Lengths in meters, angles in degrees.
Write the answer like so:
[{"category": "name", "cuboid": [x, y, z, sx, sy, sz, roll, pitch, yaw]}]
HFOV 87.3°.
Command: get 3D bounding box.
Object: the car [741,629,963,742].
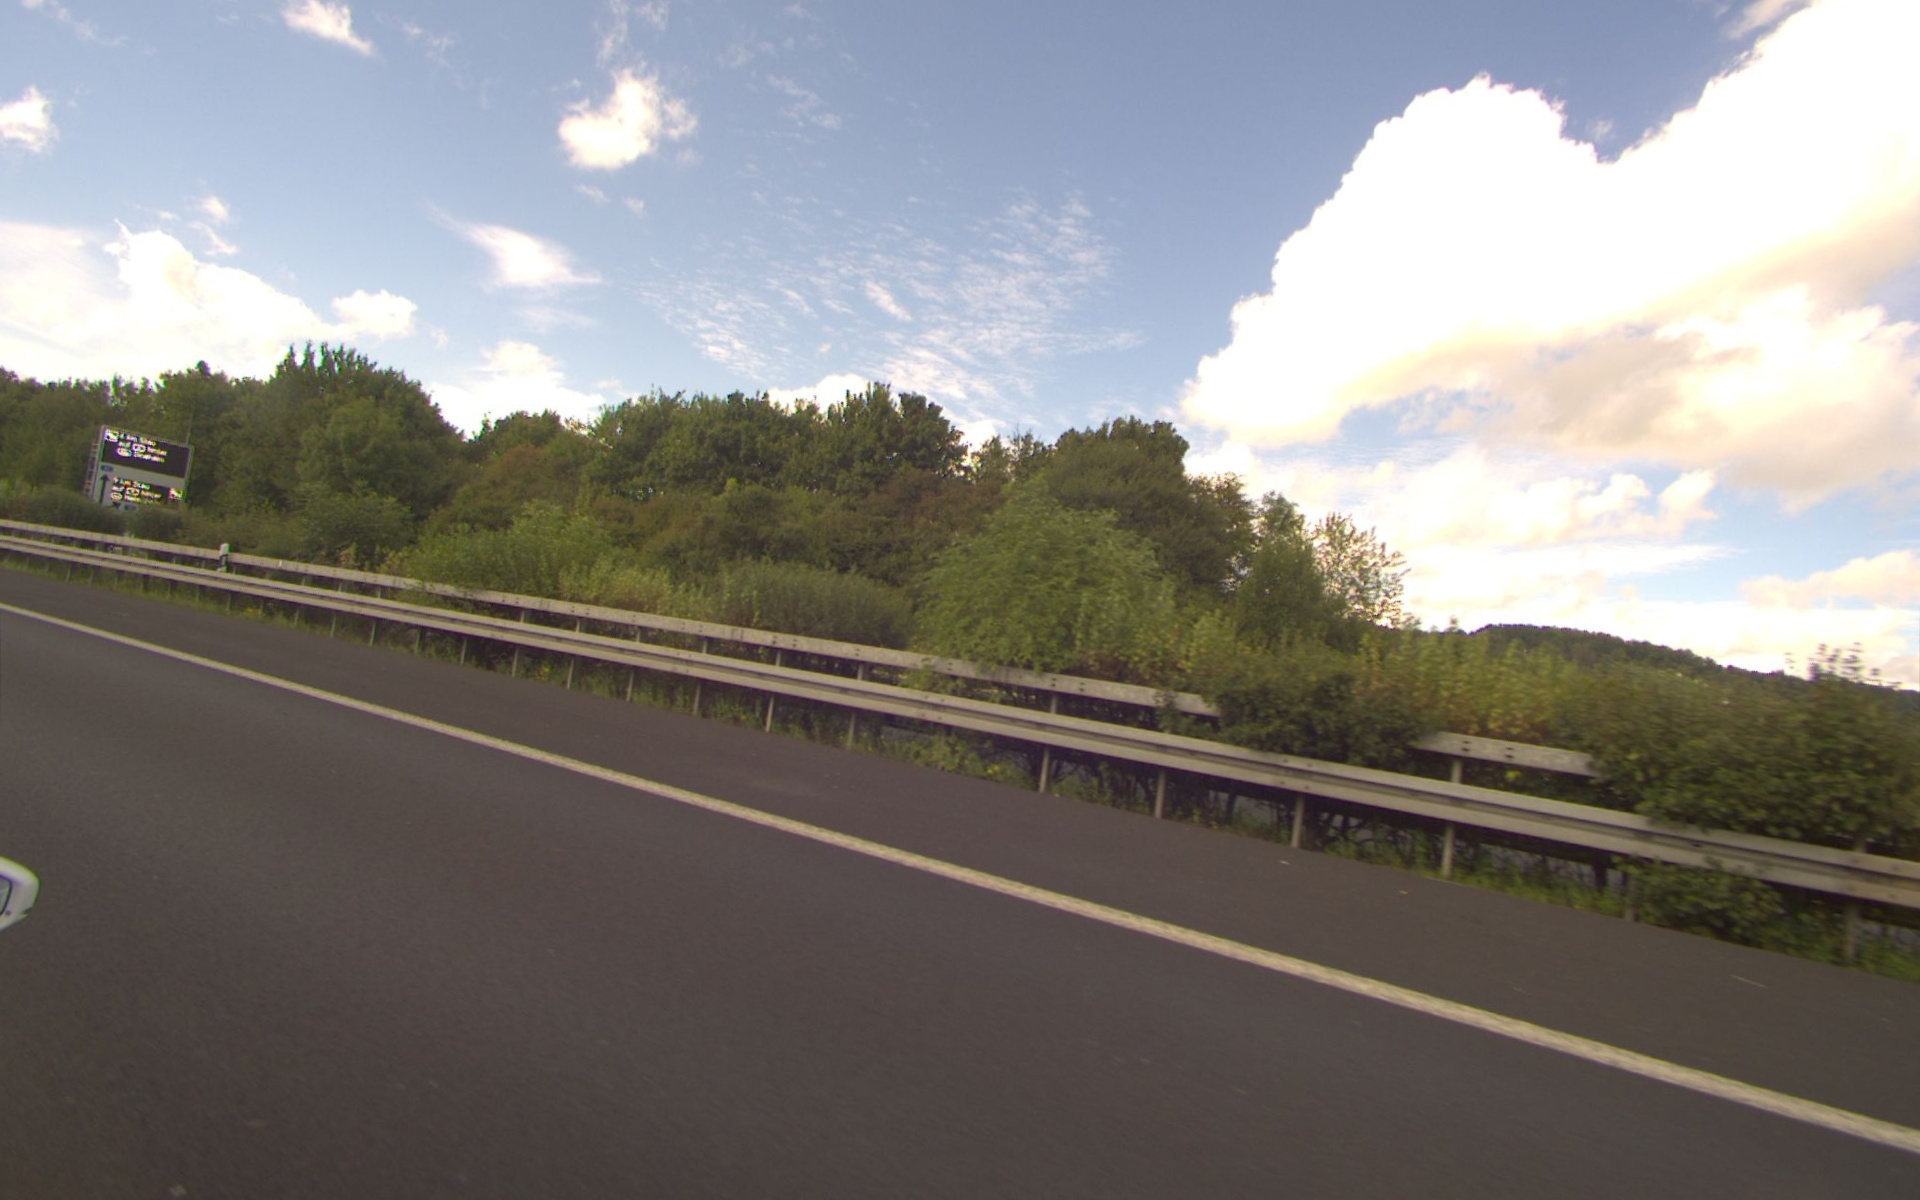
[{"category": "car", "cuboid": [-2.156, 1.630, 19.642, 3.960, 1.590, 1.786, 6, -2, 34]}]
